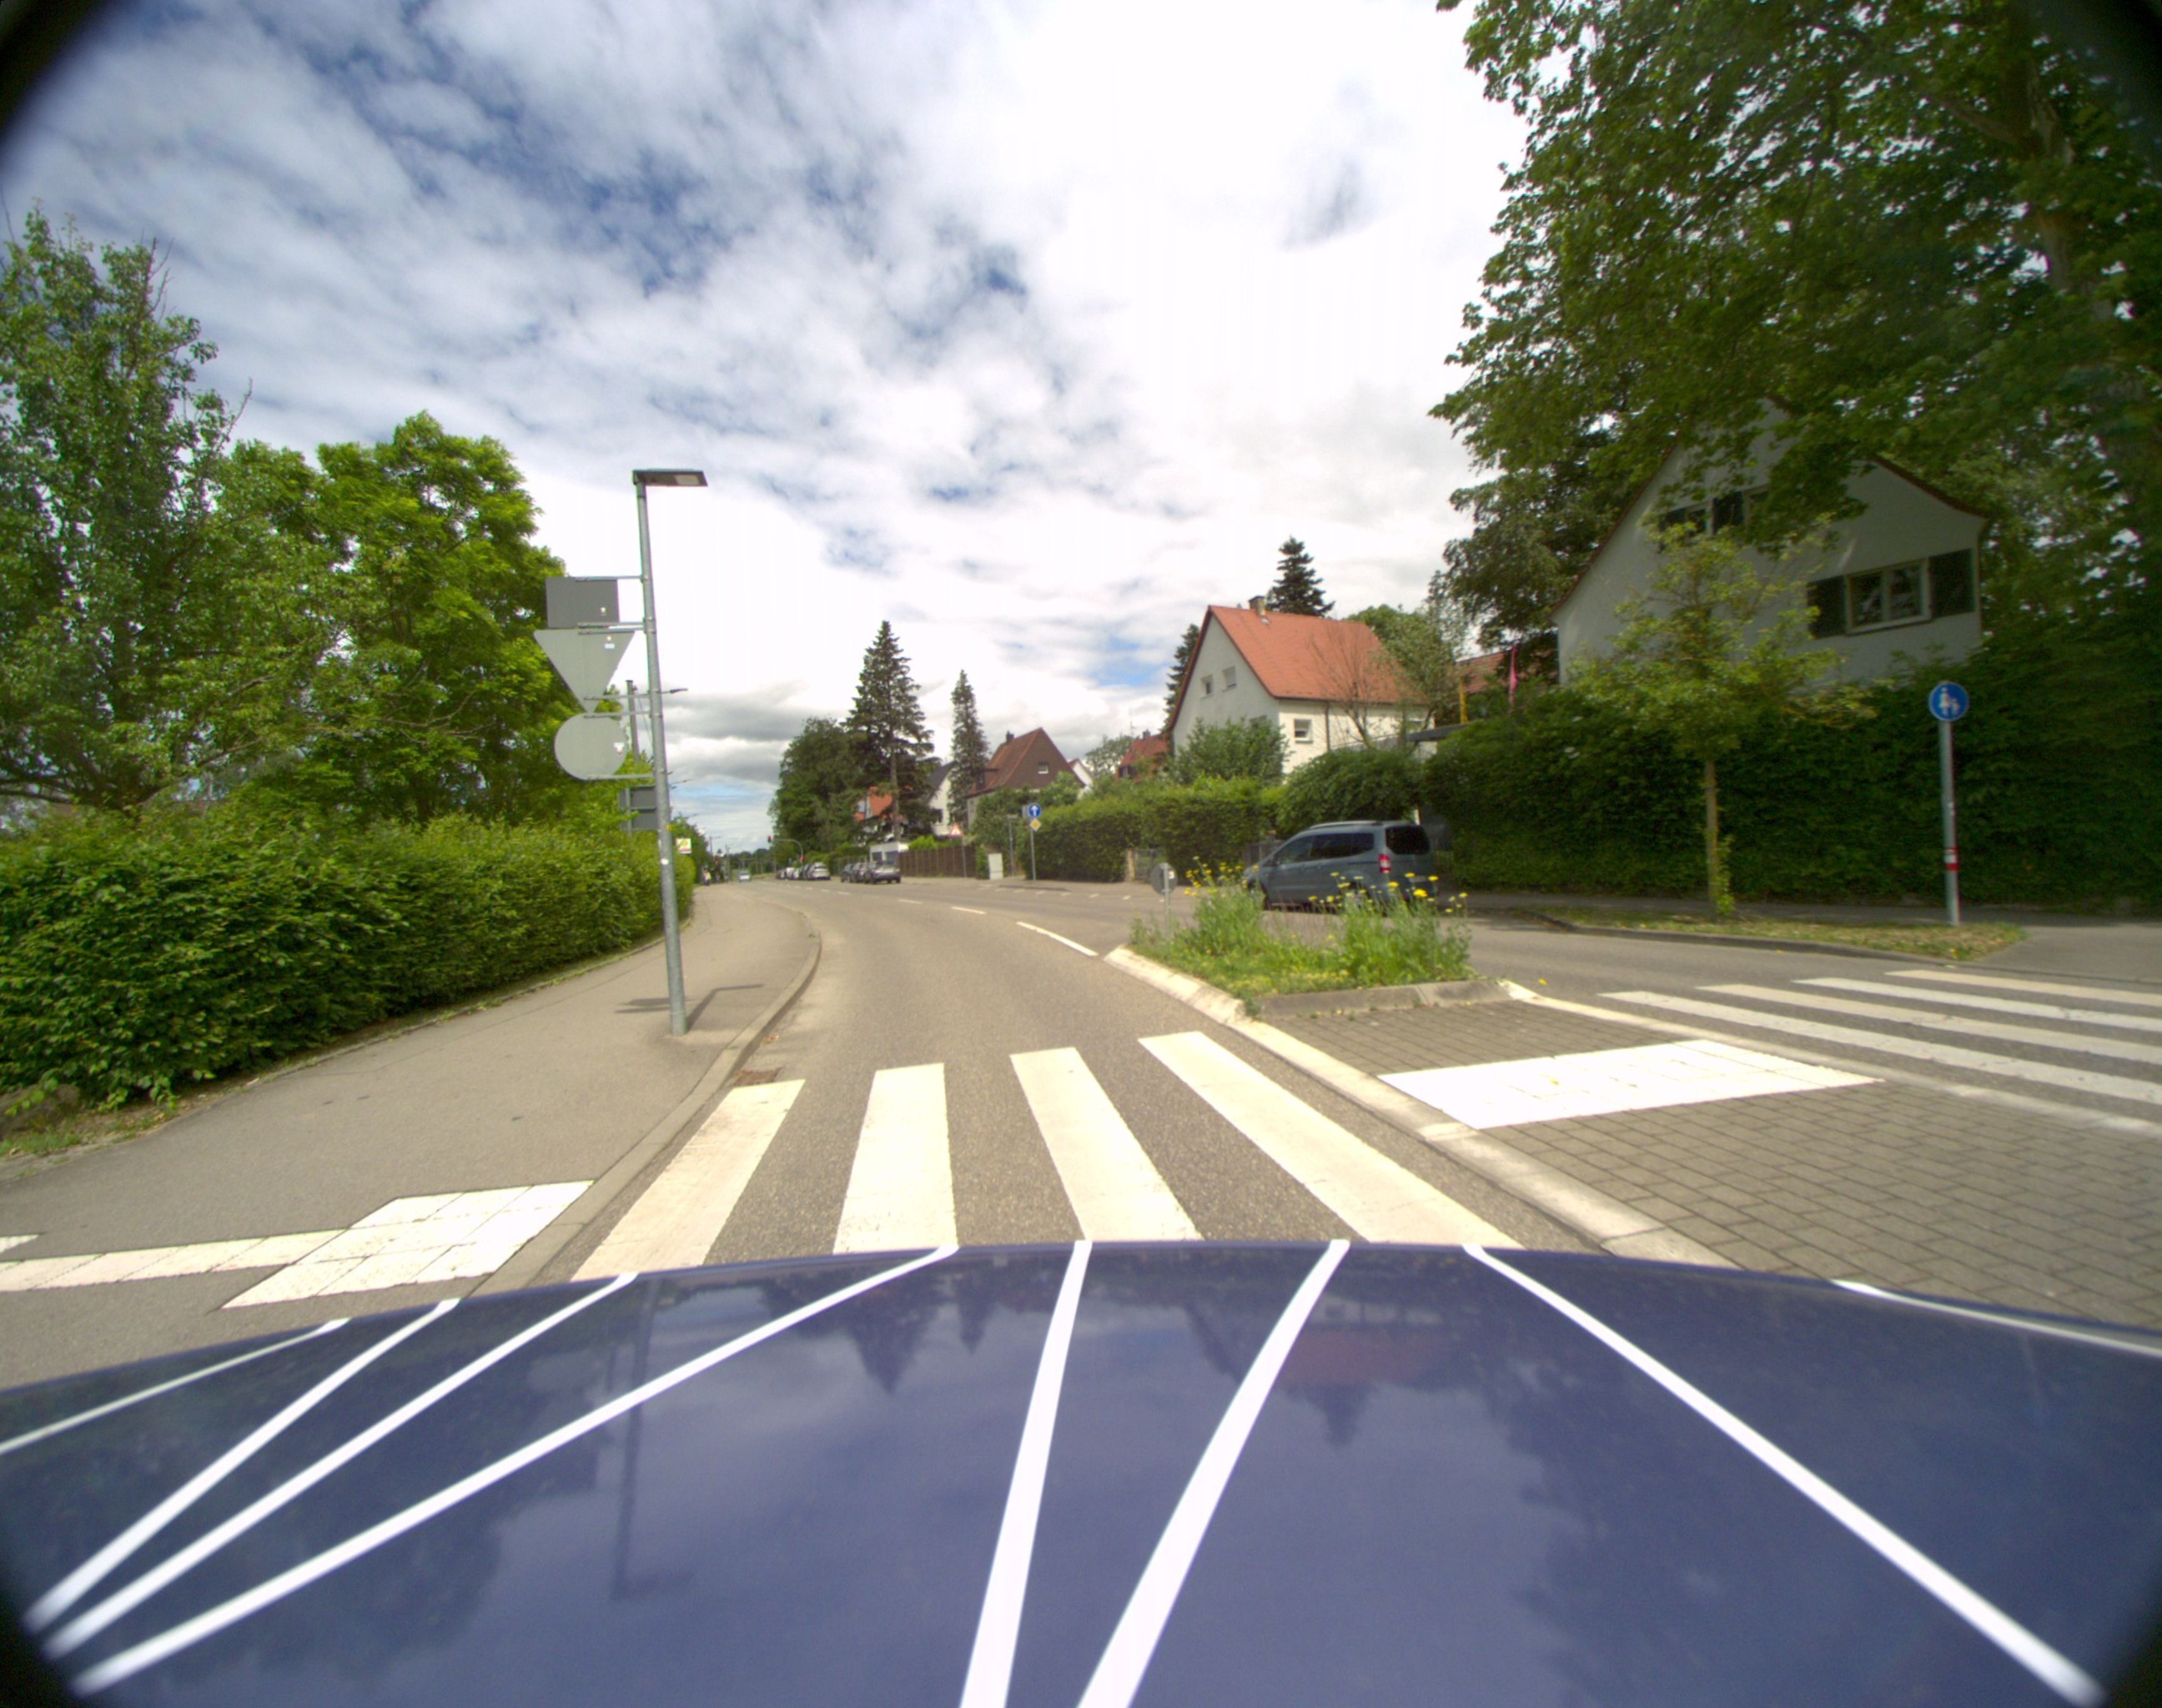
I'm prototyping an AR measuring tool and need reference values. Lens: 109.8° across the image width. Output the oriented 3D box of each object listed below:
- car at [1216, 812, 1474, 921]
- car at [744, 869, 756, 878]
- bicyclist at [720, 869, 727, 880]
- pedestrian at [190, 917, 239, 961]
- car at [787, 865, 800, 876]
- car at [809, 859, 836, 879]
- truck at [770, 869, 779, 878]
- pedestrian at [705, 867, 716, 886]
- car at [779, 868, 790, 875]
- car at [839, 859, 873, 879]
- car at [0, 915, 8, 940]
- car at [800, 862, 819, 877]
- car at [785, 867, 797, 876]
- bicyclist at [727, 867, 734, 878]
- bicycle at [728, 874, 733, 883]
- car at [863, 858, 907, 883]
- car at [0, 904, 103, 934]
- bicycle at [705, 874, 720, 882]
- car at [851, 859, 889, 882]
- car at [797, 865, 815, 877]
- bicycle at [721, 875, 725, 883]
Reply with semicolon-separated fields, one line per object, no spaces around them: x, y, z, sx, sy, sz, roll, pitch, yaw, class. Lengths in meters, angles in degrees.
5.157;0.253;15.432;2.142;1.762;4.454;-6;2;-34;car
-52.858;3.129;121.205;1.668;1.394;3.892;-4;0;-24;car
-51.269;2.885;108.914;0.828;1.529;0.860;-4;1;-24;bicyclist
-26.520;2.588;23.262;0.566;1.227;0.798;-3;1;-10;pedestrian
-45.117;2.608;119.184;1.684;1.748;4.599;-2;0;-24;car
-26.563;1.530;77.893;1.993;1.808;4.699;-4;0;-25;car
-84.370;5.289;209.089;2.198;2.357;6.892;-3;0;-23;truck
-35.071;2.121;71.916;0.688;1.649;0.689;-6;2;-19;pedestrian
-63.894;3.842;163.824;1.975;1.394;4.059;-4;0;-22;car
-17.588;1.203;59.350;1.659;1.418;3.897;-3;0;-30;car
-59.112;4.041;38.873;2.000;1.324;4.819;-3;0;-9;car
-31.794;1.795;89.013;1.634;1.668;4.575;-2;-1;-25;car
-47.345;2.888;123.947;1.712;1.444;4.350;-1;-1;-20;car
-50.463;2.686;109.329;0.828;1.530;0.860;-6;2;-26;bicyclist
-50.351;3.559;109.185;0.452;1.278;2.203;-6;2;-28;bicycle
-12.958;1.087;50.022;2.002;1.471;4.638;-3;0;-24;car
-59.731;3.745;43.720;2.000;1.324;3.997;-3;0;-9;car
-62.138;4.053;128.280;2.210;1.041;0.450;-5;1;-25;bicycle
-15.296;1.162;54.842;1.875;1.451;4.480;-4;1;-24;car
-34.383;2.135;95.070;1.813;1.450;5.060;-3;0;-23;car
-51.242;3.572;108.797;0.452;1.143;2.203;-5;1;-24;bicycle
